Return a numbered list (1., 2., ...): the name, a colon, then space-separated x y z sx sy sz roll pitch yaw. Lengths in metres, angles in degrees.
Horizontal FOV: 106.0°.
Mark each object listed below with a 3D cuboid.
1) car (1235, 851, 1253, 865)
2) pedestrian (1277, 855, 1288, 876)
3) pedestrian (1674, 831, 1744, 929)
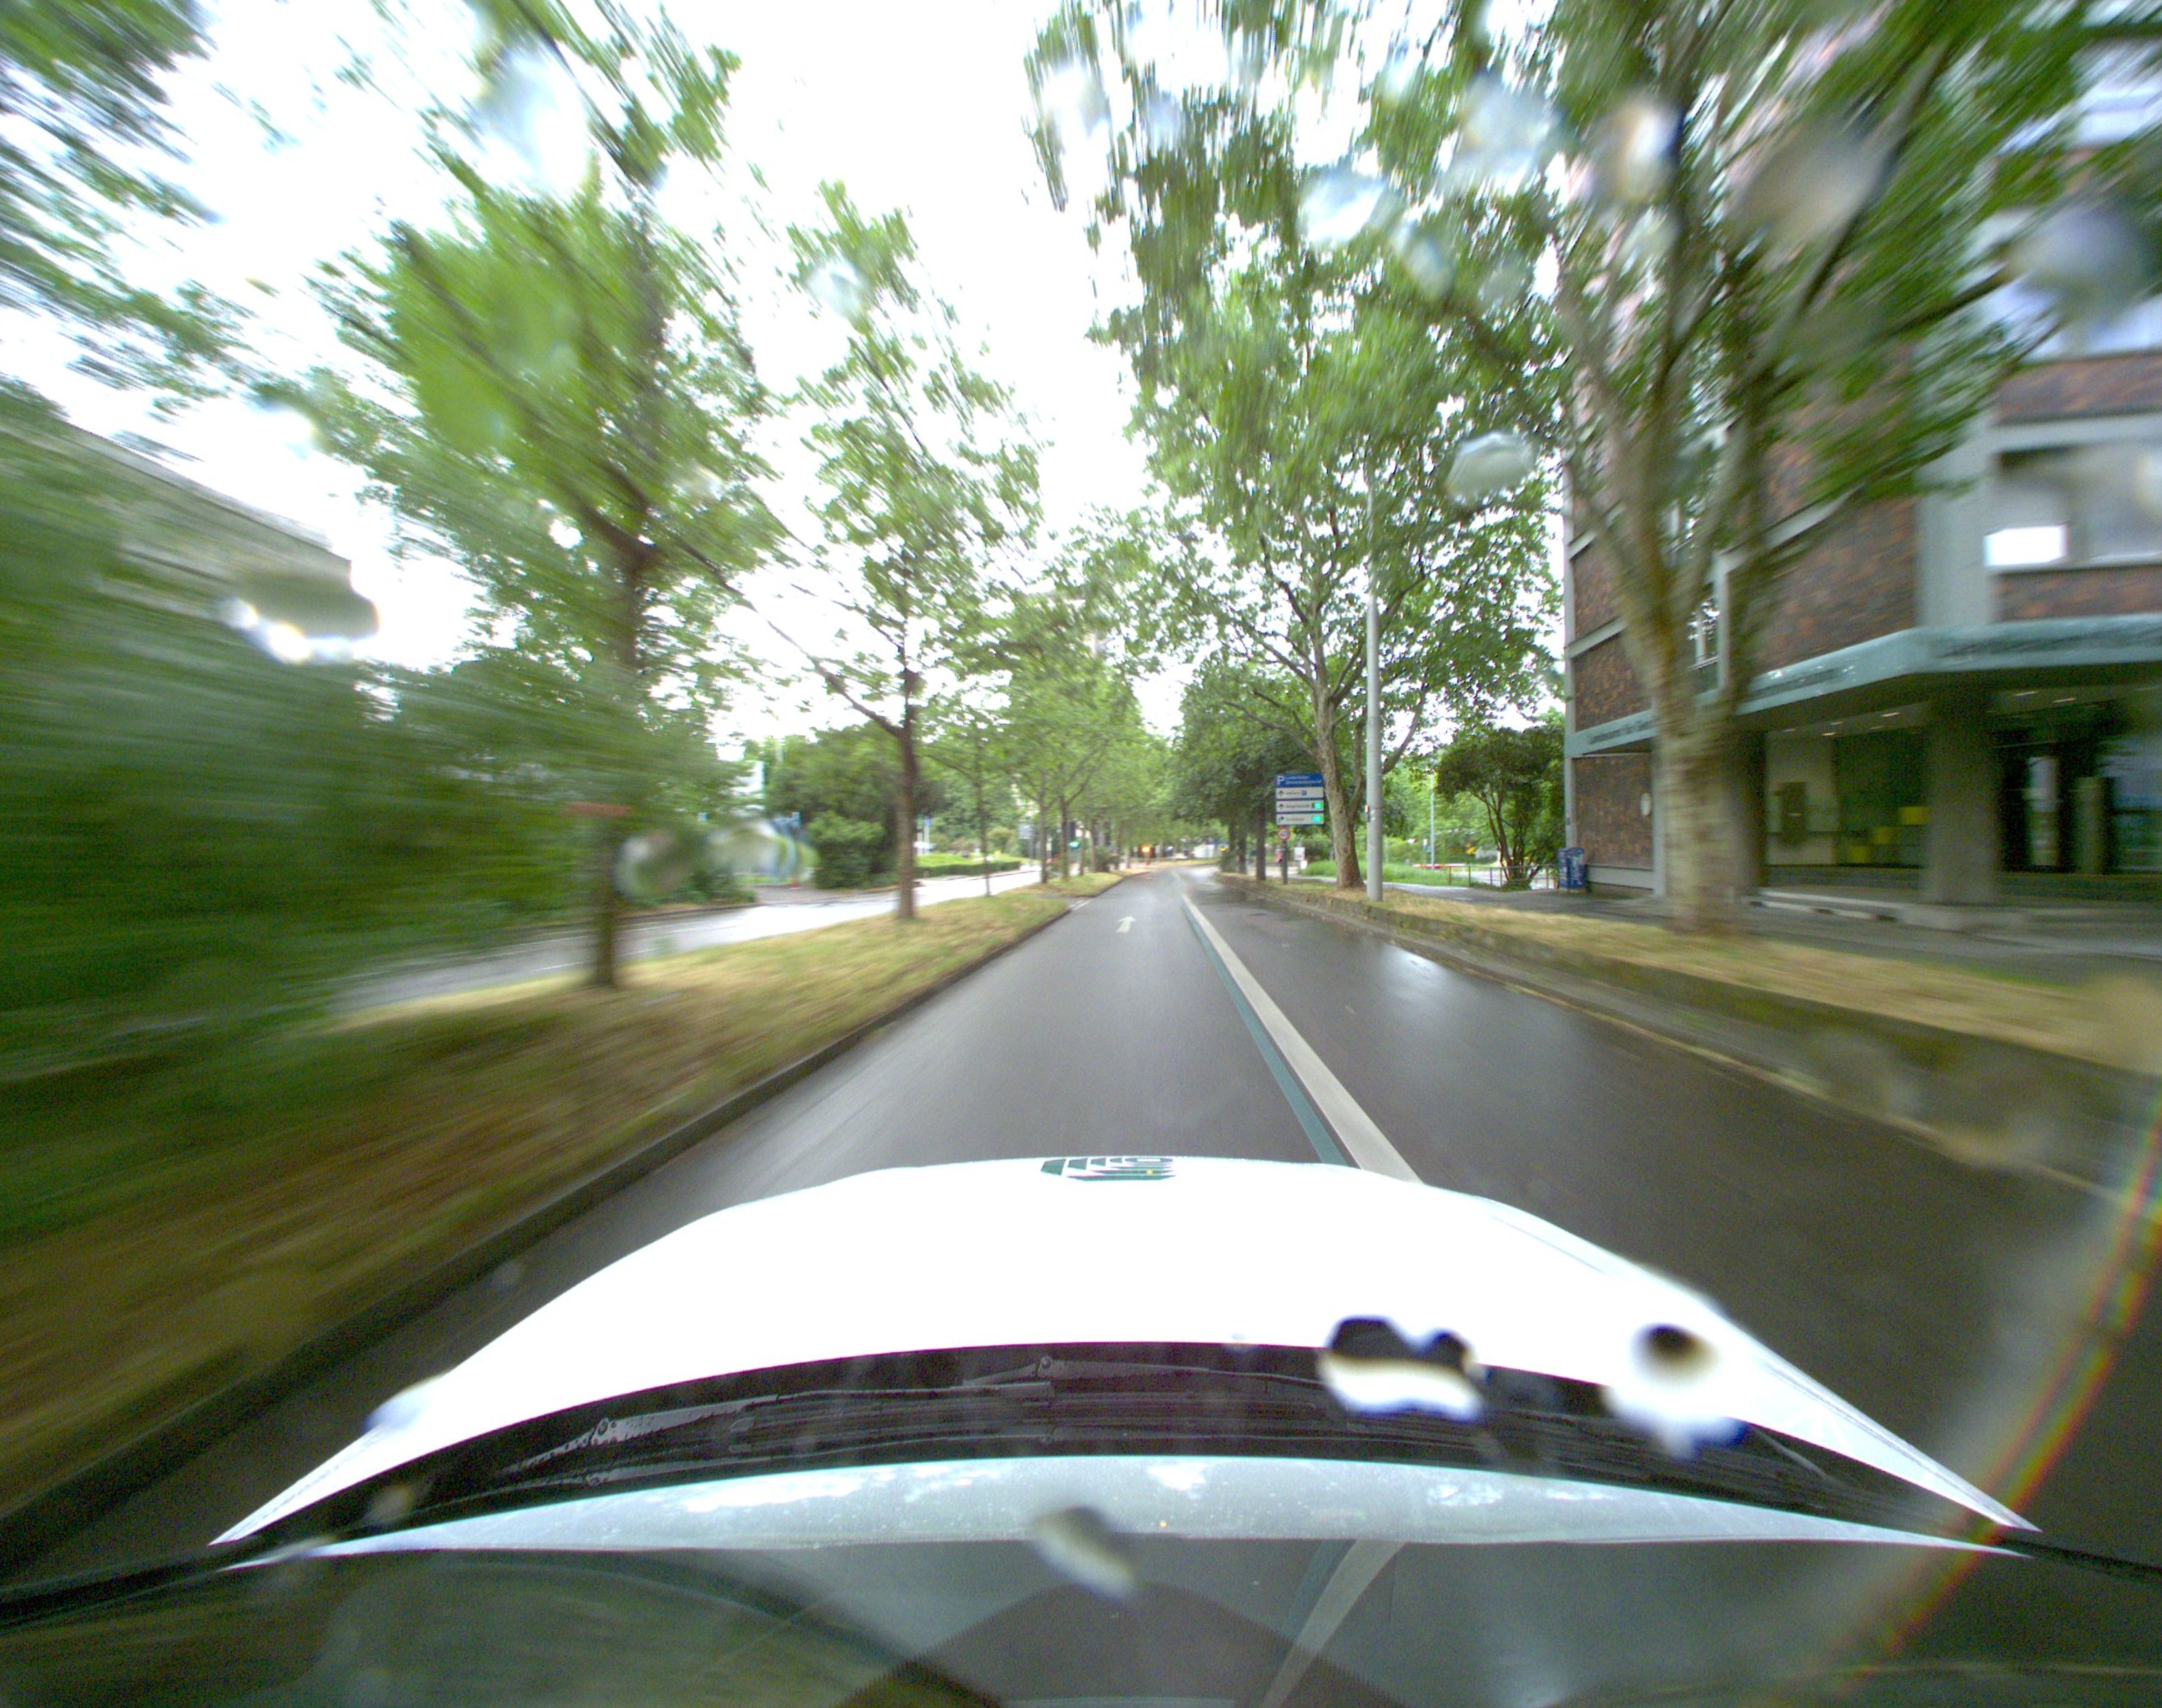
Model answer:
1. car: 25.225 0.616 125.914 1.975 2.013 4.023 -1 0 24
2. pedestrian: 15.209 0.863 61.496 0.700 1.639 0.936 0 0 4
3. pedestrian: 10.808 0.435 14.045 0.518 1.639 0.936 0 0 4
